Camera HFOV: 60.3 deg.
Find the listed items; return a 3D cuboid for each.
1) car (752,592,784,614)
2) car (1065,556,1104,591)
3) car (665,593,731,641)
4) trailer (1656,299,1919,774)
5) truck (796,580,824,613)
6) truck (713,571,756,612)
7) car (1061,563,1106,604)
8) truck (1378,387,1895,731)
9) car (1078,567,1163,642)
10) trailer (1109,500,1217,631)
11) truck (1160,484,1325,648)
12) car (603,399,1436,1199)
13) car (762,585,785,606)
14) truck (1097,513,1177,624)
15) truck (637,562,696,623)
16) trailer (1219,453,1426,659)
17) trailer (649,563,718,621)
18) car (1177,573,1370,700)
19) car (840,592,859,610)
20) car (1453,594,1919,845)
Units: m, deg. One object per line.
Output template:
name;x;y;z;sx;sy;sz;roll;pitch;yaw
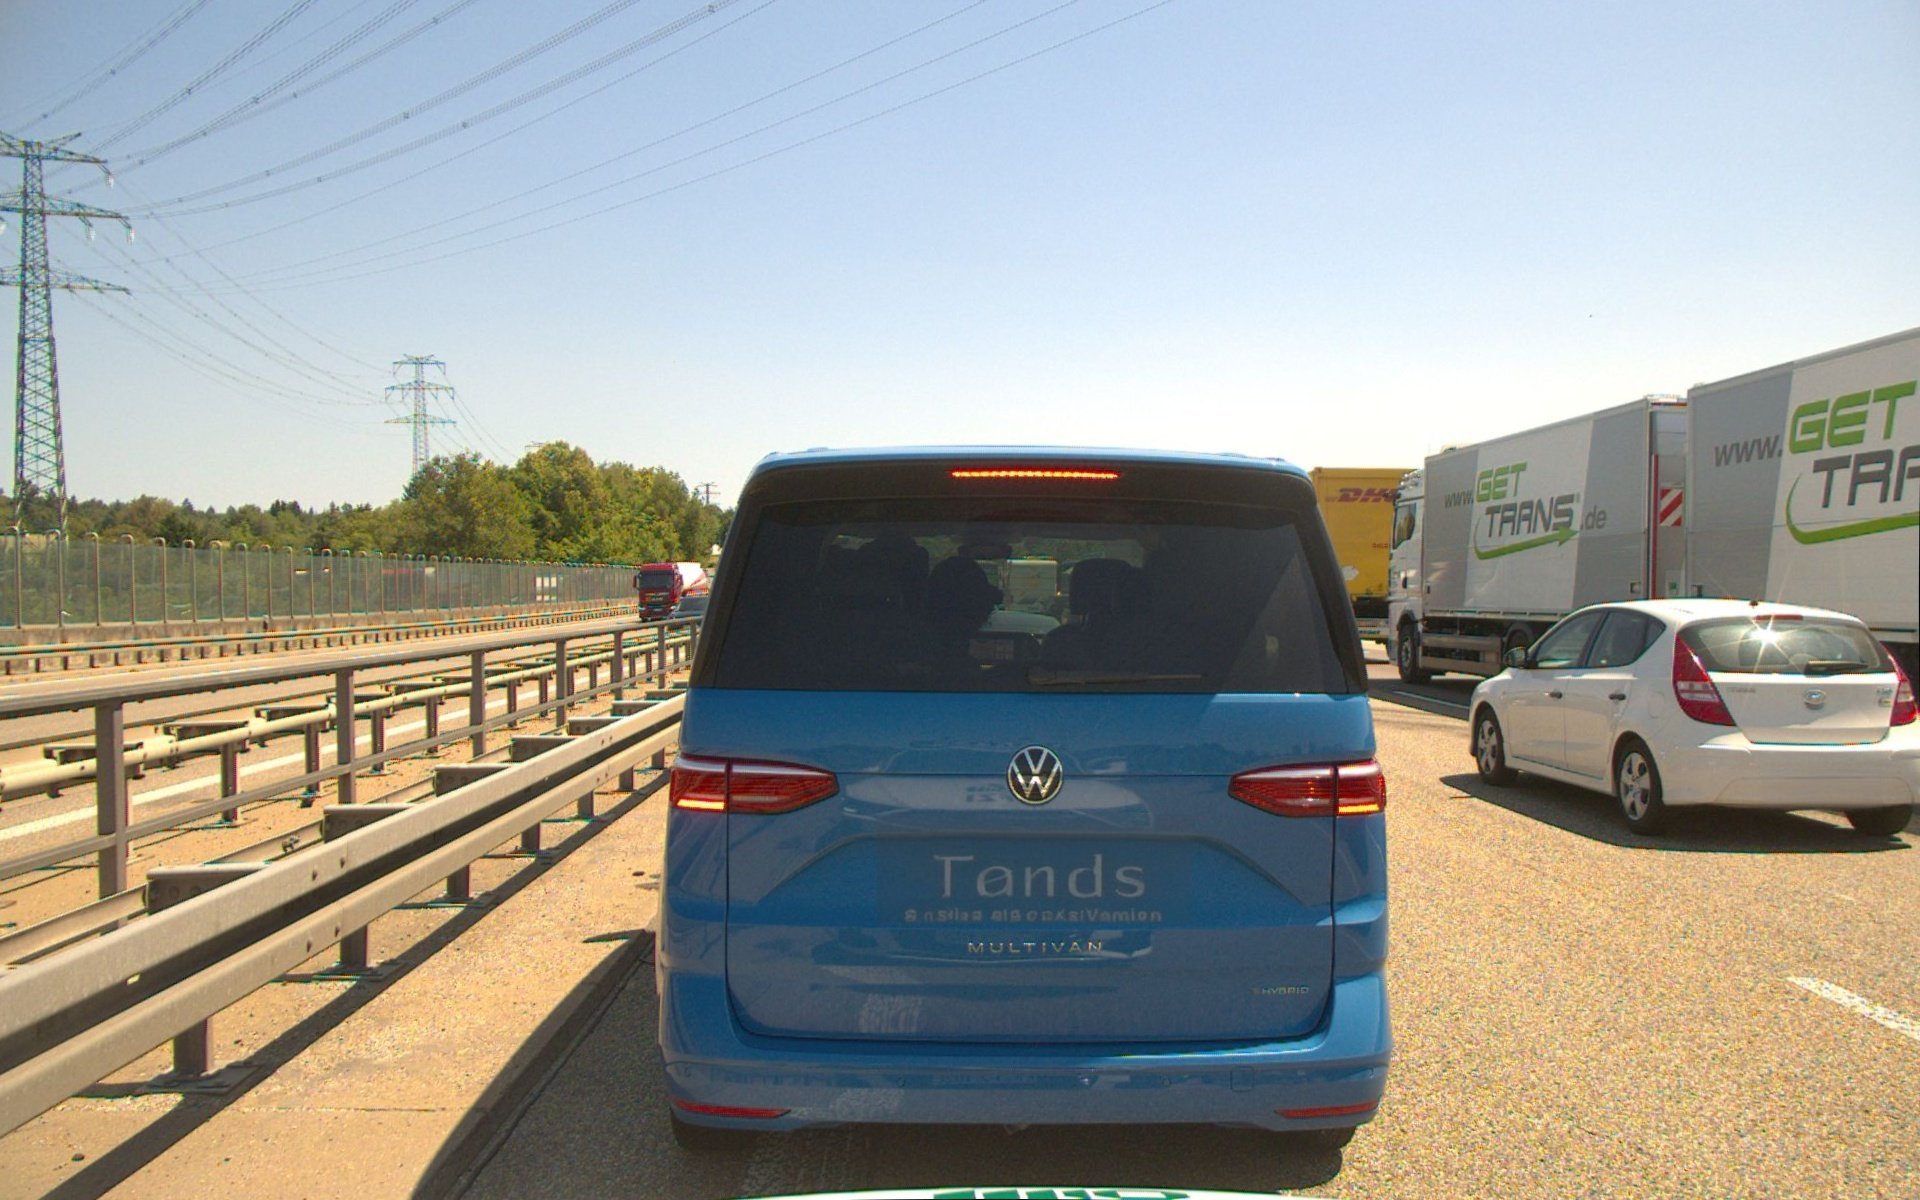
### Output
car;-14.129;0.210;121.790;1.826;1.469;4.130;-2;0;-1
car;7.432;-1.562;99.208;1.953;2.049;4.460;-1;0;-1
car;-8.739;0.546;55.394;1.586;1.489;3.701;-2;0;-1
trailer;8.925;-0.509;13.888;2.643;3.765;8.013;0;0;-1
truck;-16.095;-0.381;178.226;2.510;3.418;8.860;-2;0;-2
truck;-18.757;-0.658;138.072;2.468;3.164;8.720;-3;0;-2
car;6.361;-0.844;85.508;1.953;2.049;3.999;1;0;-1
truck;8.726;-0.478;23.409;2.603;3.711;11.008;0;0;-1
car;4.493;0.101;46.763;1.922;2.028;4.292;0;0;-1
trailer;7.700;-1.268;64.345;2.583;4.595;11.299;1;0;-1
truck;8.181;-0.928;49.506;2.778;4.317;11.007;1;0;-1
car;0.109;0.522;5.625;1.783;1.890;4.074;1;0;-1
car;-21.109;-0.522;187.124;2.040;2.187;4.311;-2;1;-1
truck;7.600;-1.293;71.770;2.613;4.562;6.848;1;0;-1
truck;-17.405;-0.466;98.496;2.447;3.424;5.833;-2;0;-1
trailer;8.376;-0.917;39.491;2.806;4.313;9.009;1;0;-1
trailer;-17.549;-0.498;105.626;2.430;3.402;12.070;-2;0;-1
car;4.437;0.470;24.055;1.922;1.673;4.292;0;0;-1
car;-12.883;0.073;192.947;1.953;2.049;4.311;1;0;-1
car;5.116;0.701;11.975;1.752;1.481;4.292;0;0;-1
